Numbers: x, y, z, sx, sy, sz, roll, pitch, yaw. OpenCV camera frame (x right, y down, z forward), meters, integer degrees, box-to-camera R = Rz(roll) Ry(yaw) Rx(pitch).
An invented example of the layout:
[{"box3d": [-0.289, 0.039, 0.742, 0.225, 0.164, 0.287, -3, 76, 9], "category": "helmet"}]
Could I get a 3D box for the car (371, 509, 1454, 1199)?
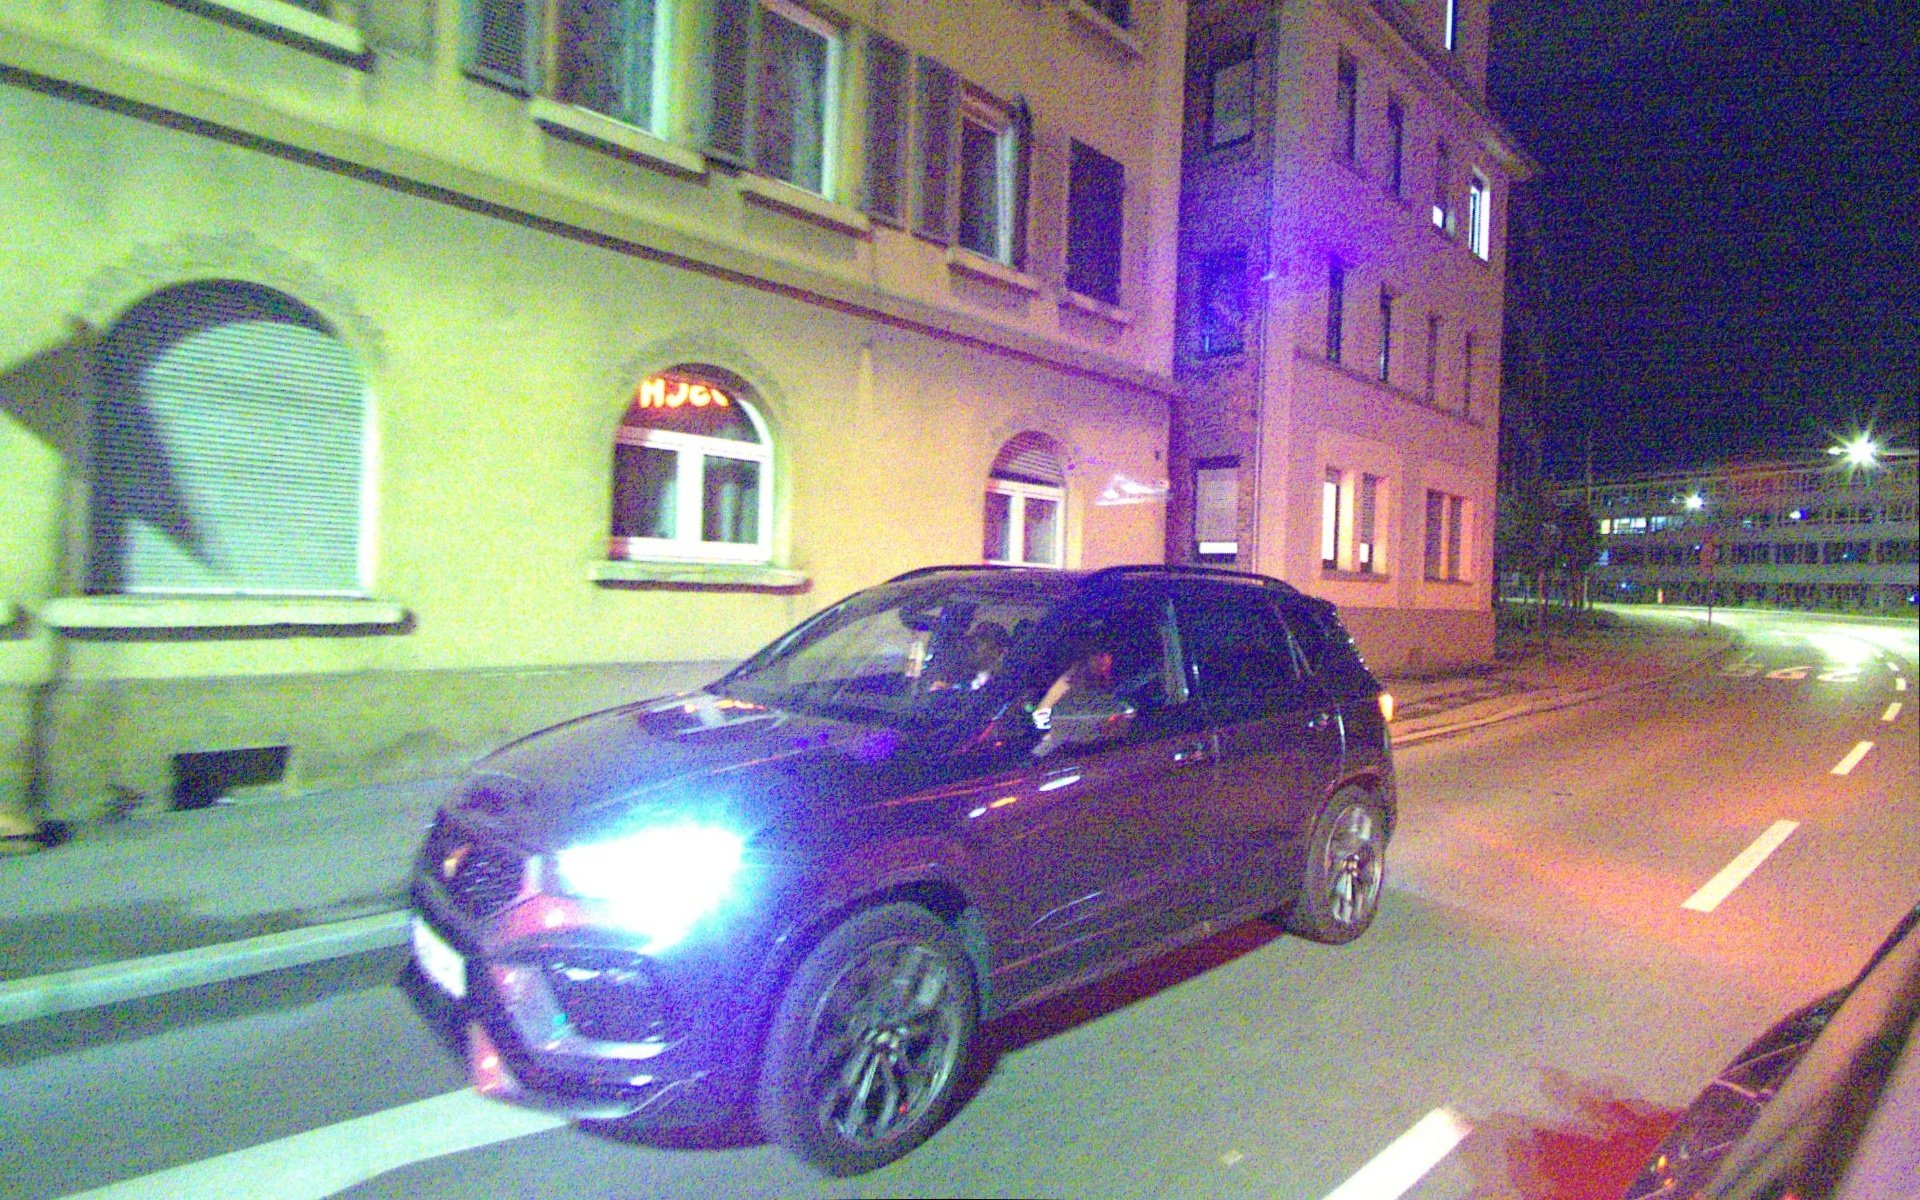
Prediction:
[{"box3d": [0.214, 0.583, 3.996, 4.156, 1.630, 1.673, -1, 2, -41], "category": "car"}]
